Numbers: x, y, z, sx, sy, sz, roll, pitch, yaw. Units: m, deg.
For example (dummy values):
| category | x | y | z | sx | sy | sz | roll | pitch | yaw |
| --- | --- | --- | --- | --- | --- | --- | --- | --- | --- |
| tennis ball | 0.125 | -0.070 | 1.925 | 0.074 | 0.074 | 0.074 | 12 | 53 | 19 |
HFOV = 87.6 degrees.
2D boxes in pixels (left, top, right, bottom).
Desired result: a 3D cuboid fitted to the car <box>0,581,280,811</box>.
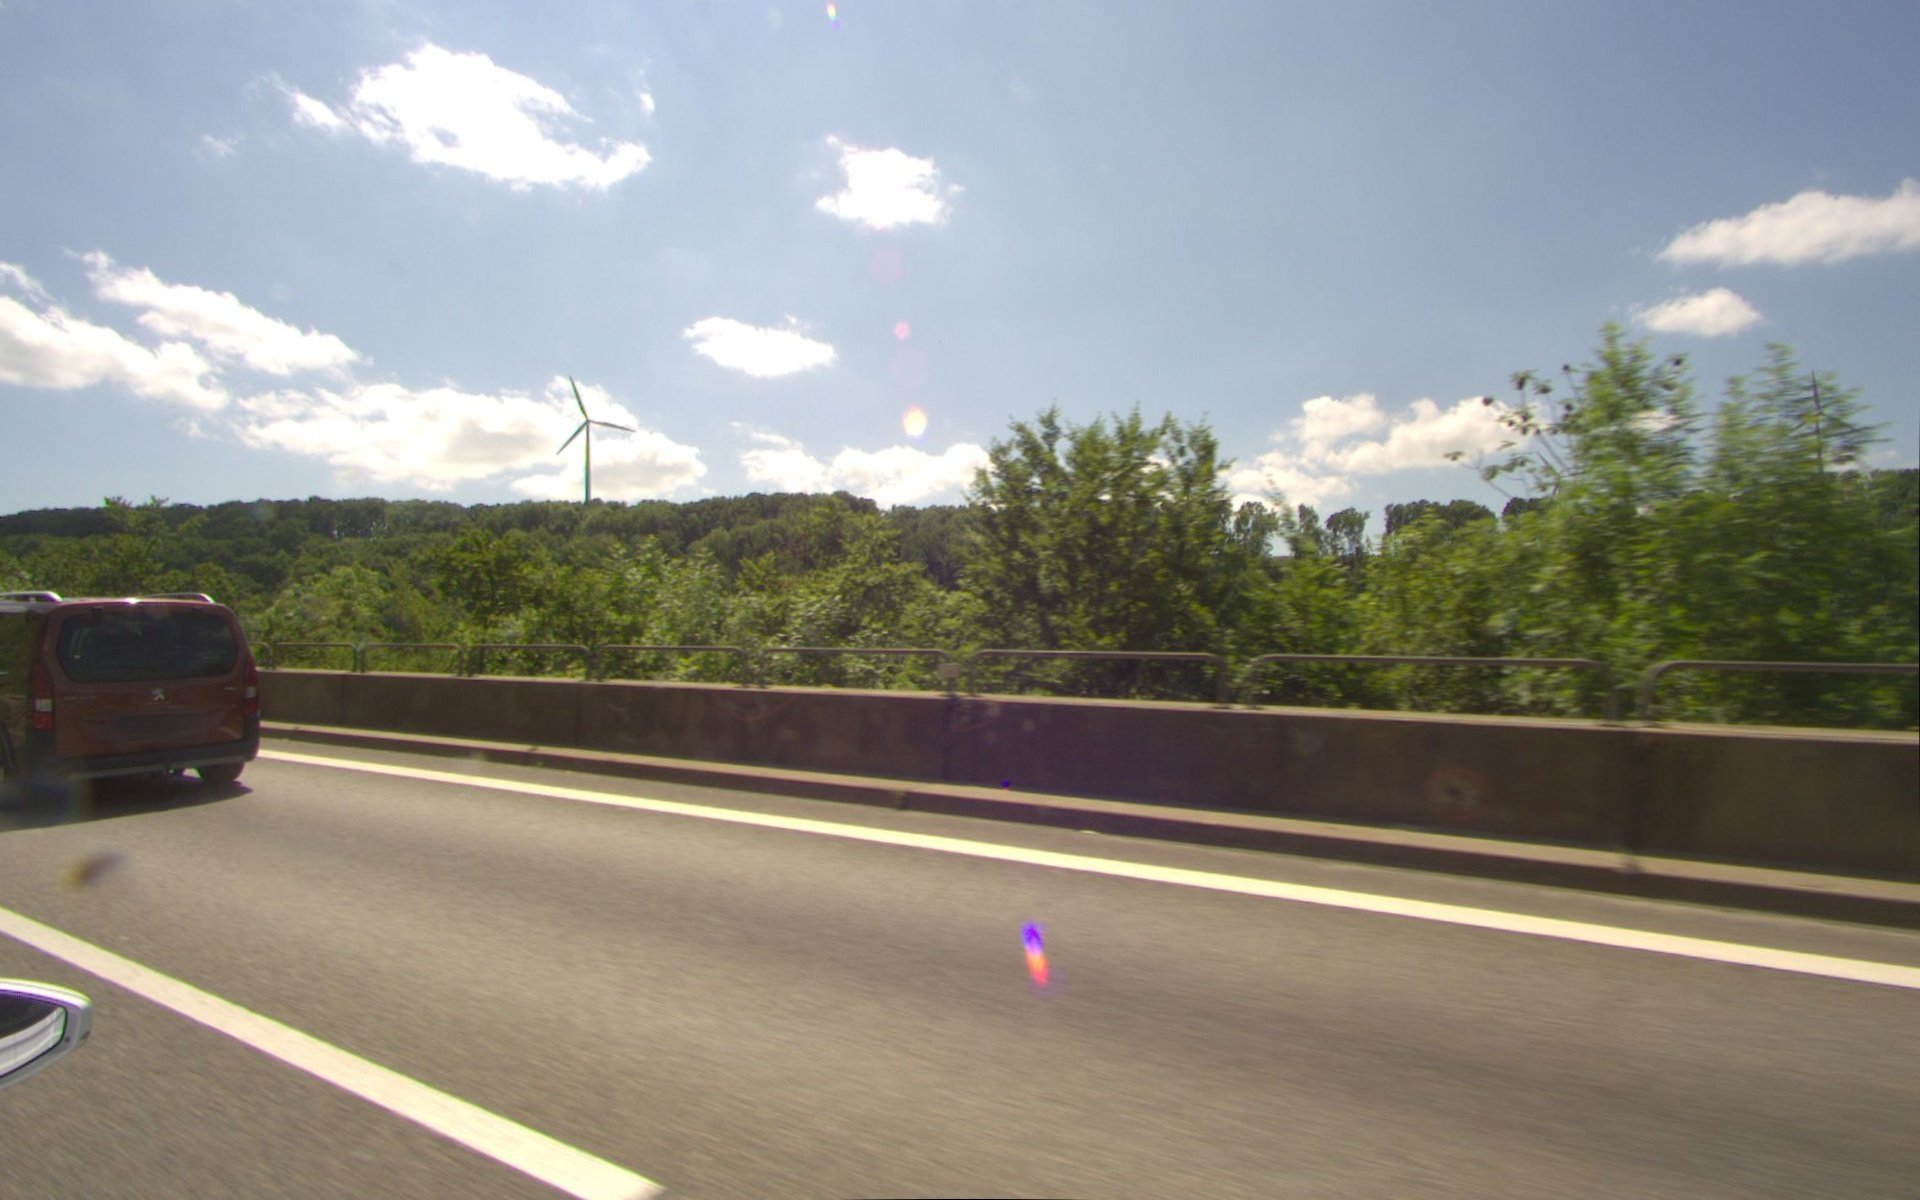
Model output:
| category | x | y | z | sx | sy | sz | roll | pitch | yaw |
| --- | --- | --- | --- | --- | --- | --- | --- | --- | --- |
| car | -8.858 | 0.832 | 9.909 | 4.609 | 1.807 | 1.830 | -2 | -2 | 32 |
